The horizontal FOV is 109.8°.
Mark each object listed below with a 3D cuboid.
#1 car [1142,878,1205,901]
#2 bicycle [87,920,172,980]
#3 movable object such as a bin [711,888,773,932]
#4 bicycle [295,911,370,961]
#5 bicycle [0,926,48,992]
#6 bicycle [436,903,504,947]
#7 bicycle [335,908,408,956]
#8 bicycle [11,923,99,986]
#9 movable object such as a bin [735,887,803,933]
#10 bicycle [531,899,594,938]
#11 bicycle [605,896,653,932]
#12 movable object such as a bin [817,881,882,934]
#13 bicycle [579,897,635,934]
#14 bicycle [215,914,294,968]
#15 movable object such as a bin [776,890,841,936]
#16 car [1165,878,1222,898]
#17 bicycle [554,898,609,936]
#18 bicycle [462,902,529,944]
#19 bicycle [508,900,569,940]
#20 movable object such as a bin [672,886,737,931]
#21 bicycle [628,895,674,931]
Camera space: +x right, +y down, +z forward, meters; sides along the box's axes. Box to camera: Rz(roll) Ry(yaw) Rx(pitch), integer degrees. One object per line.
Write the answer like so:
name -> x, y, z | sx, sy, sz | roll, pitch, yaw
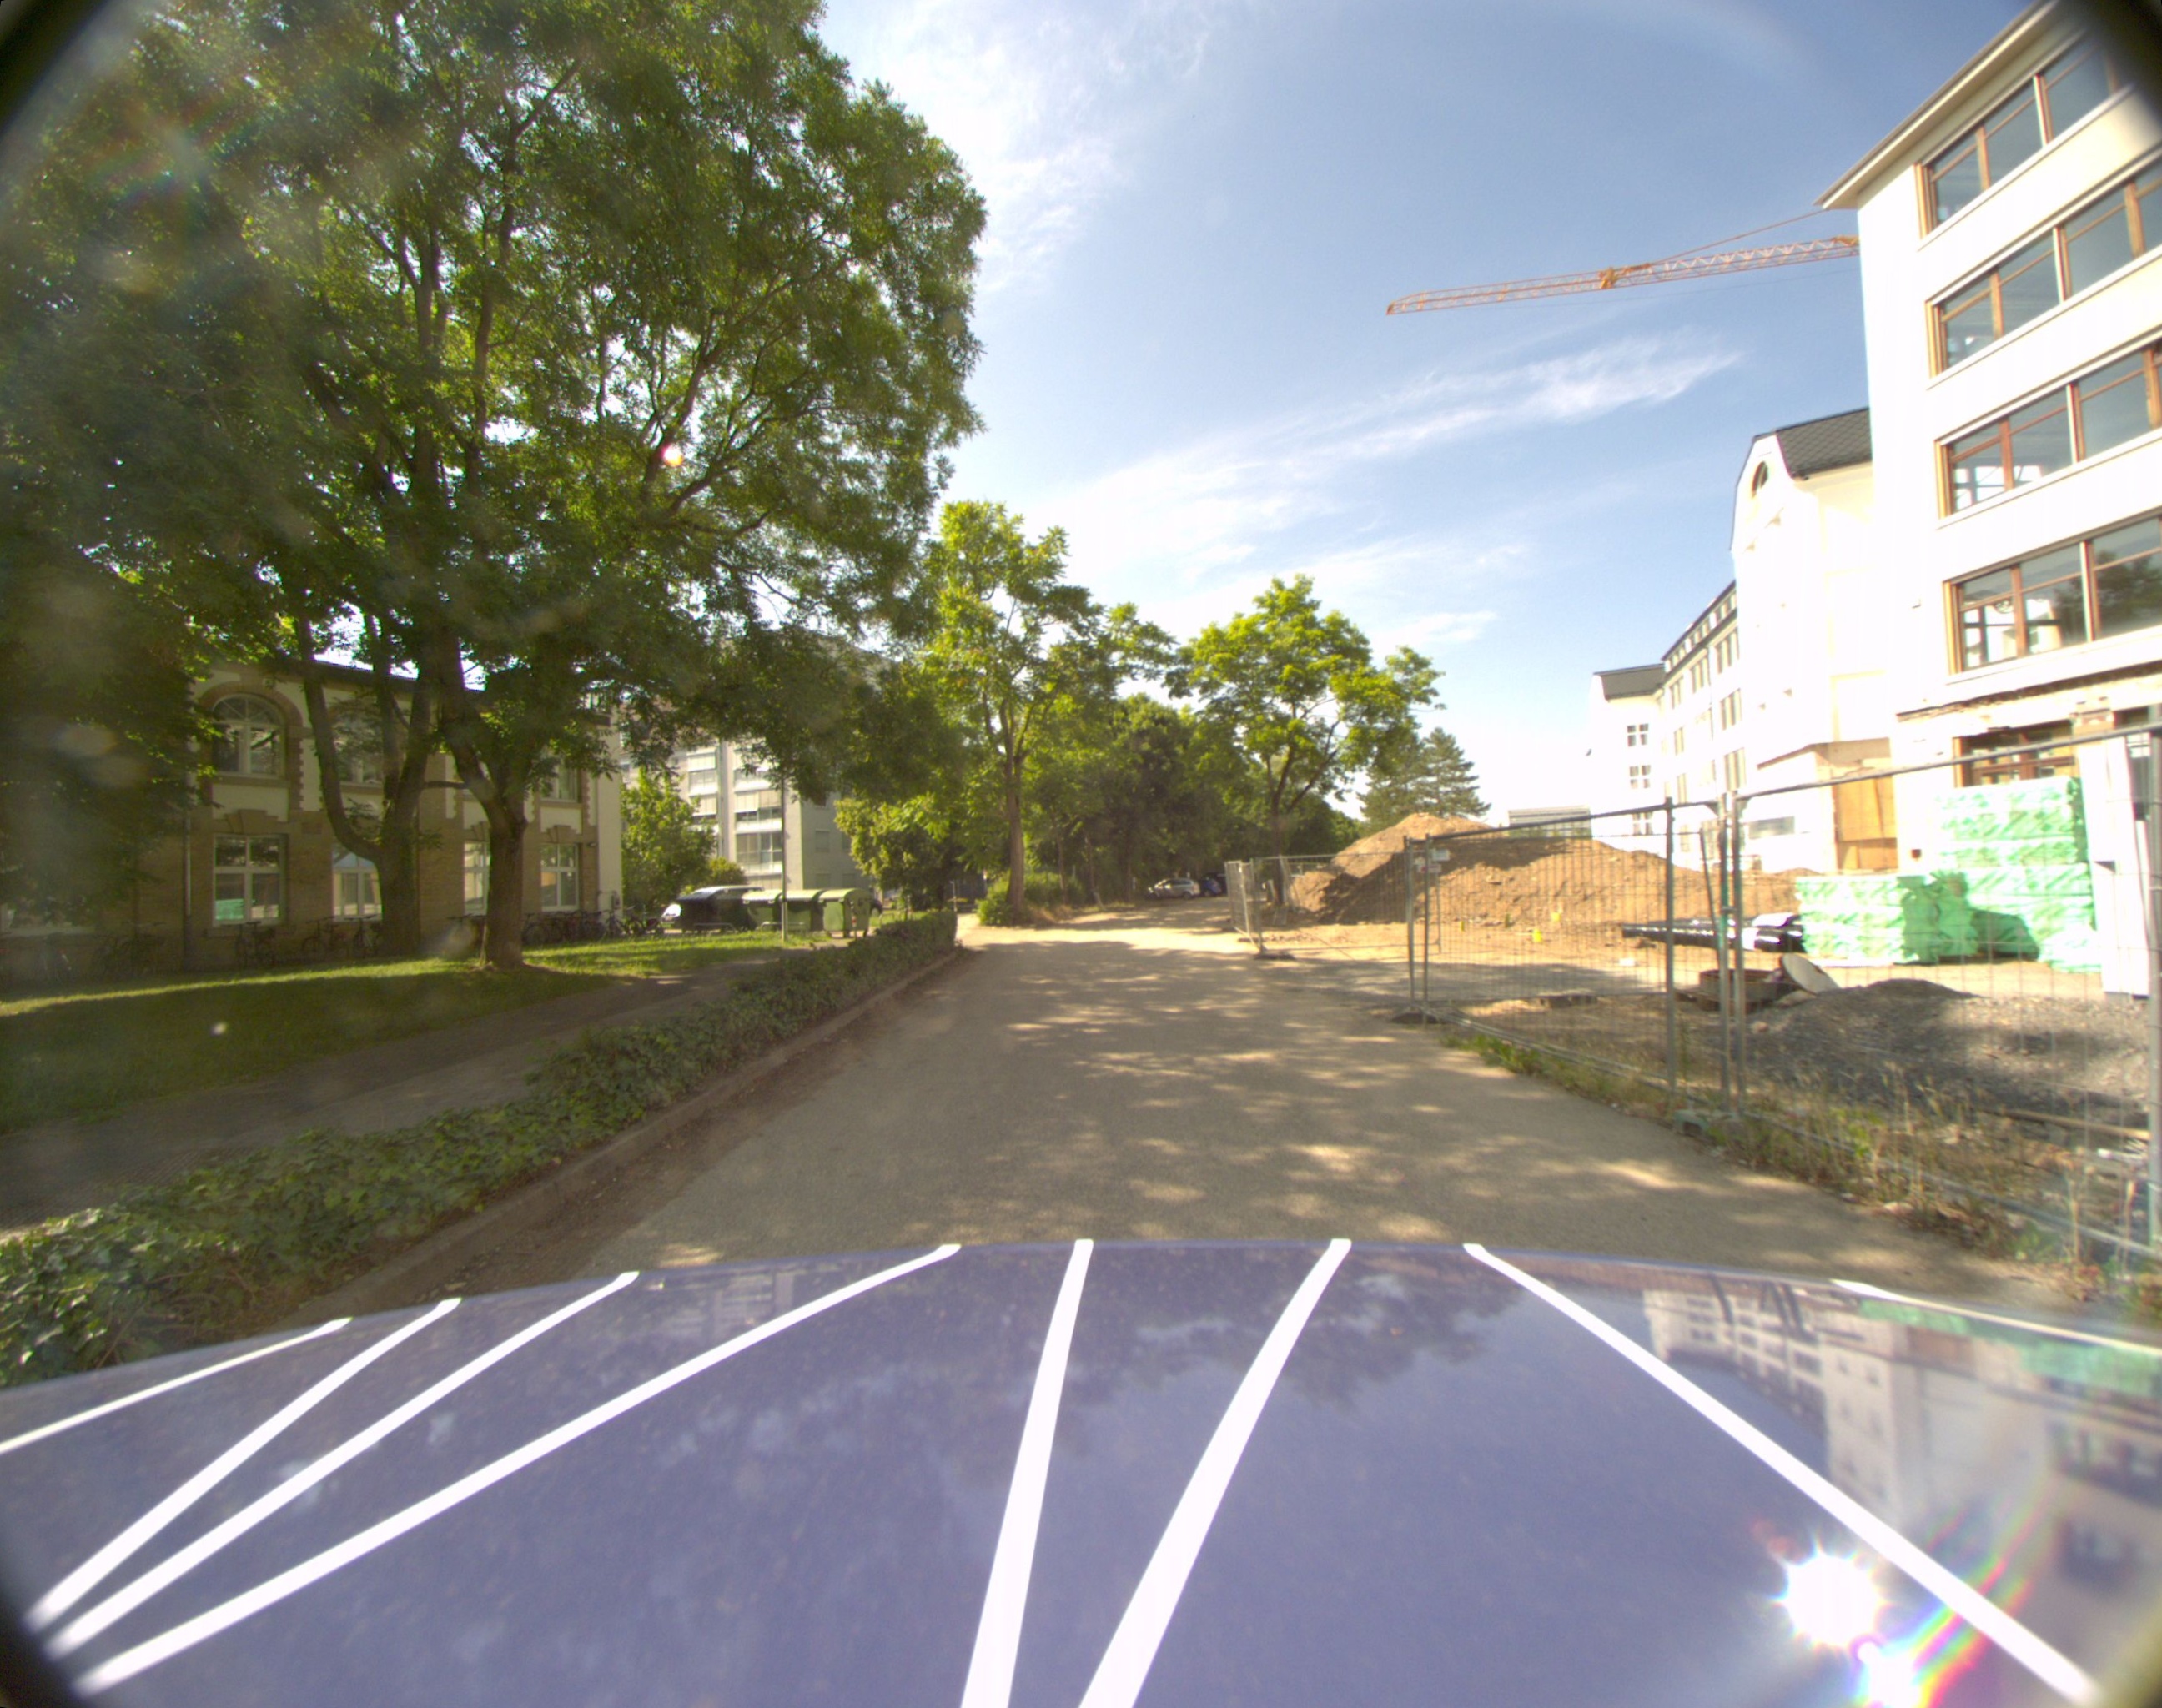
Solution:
car -> 6.539, 2.479, 53.609 | 3.991, 1.499, 2.003 | -2, -2, 19
bicycle -> -19.910, 1.987, 15.888 | 2.097, 1.154, 0.589 | -2, -1, 24
movable object such as a bin -> -10.885, 1.785, 24.425 | 1.349, 1.341, 1.217 | -2, -1, 21
bicycle -> -18.475, 2.001, 18.747 | 2.097, 1.154, 0.589 | -2, -1, 24
bicycle -> -20.500, 1.969, 14.445 | 2.097, 1.154, 0.589 | -2, -1, 24
bicycle -> -17.172, 1.993, 21.357 | 2.097, 1.154, 0.589 | -2, -1, 24
bicycle -> -18.186, 1.994, 19.468 | 2.097, 1.154, 0.589 | -2, -1, 24
bicycle -> -20.355, 1.965, 15.065 | 2.097, 1.154, 0.589 | -2, -1, 24
movable object such as a bin -> -9.643, 1.726, 23.513 | 1.499, 1.353, 1.217 | -2, -1, 21
bicycle -> -16.147, 2.017, 23.656 | 2.097, 1.154, 0.589 | -2, -1, 24
bicycle -> -15.171, 1.998, 25.505 | 1.800, 1.154, 0.508 | -2, -1, 29
movable object such as a bin -> -6.845, 1.567, 22.455 | 1.388, 1.454, 1.218 | -3, -1, 36
bicycle -> -15.580, 2.021, 24.978 | 1.847, 1.154, 0.614 | -2, -1, 24
bicycle -> -19.075, 1.994, 17.520 | 2.097, 1.154, 0.589 | -2, -1, 24
movable object such as a bin -> -8.234, 1.782, 22.973 | 1.352, 1.292, 1.217 | -2, -1, 21
car -> 8.658, 2.593, 58.570 | 3.991, 1.433, 2.003 | -2, -2, 19
bicycle -> -15.891, 1.988, 24.171 | 1.909, 1.154, 0.495 | -2, -1, 24
bicycle -> -16.945, 1.997, 21.991 | 2.097, 1.154, 0.589 | -2, -1, 24
bicycle -> -16.393, 1.981, 22.944 | 1.917, 1.154, 0.589 | -2, -1, 24
movable object such as a bin -> -12.358, 1.776, 24.972 | 1.433, 1.401, 1.252 | -2, -1, 20
bicycle -> -14.700, 2.006, 25.943 | 1.940, 1.154, 0.558 | -3, -1, 34
